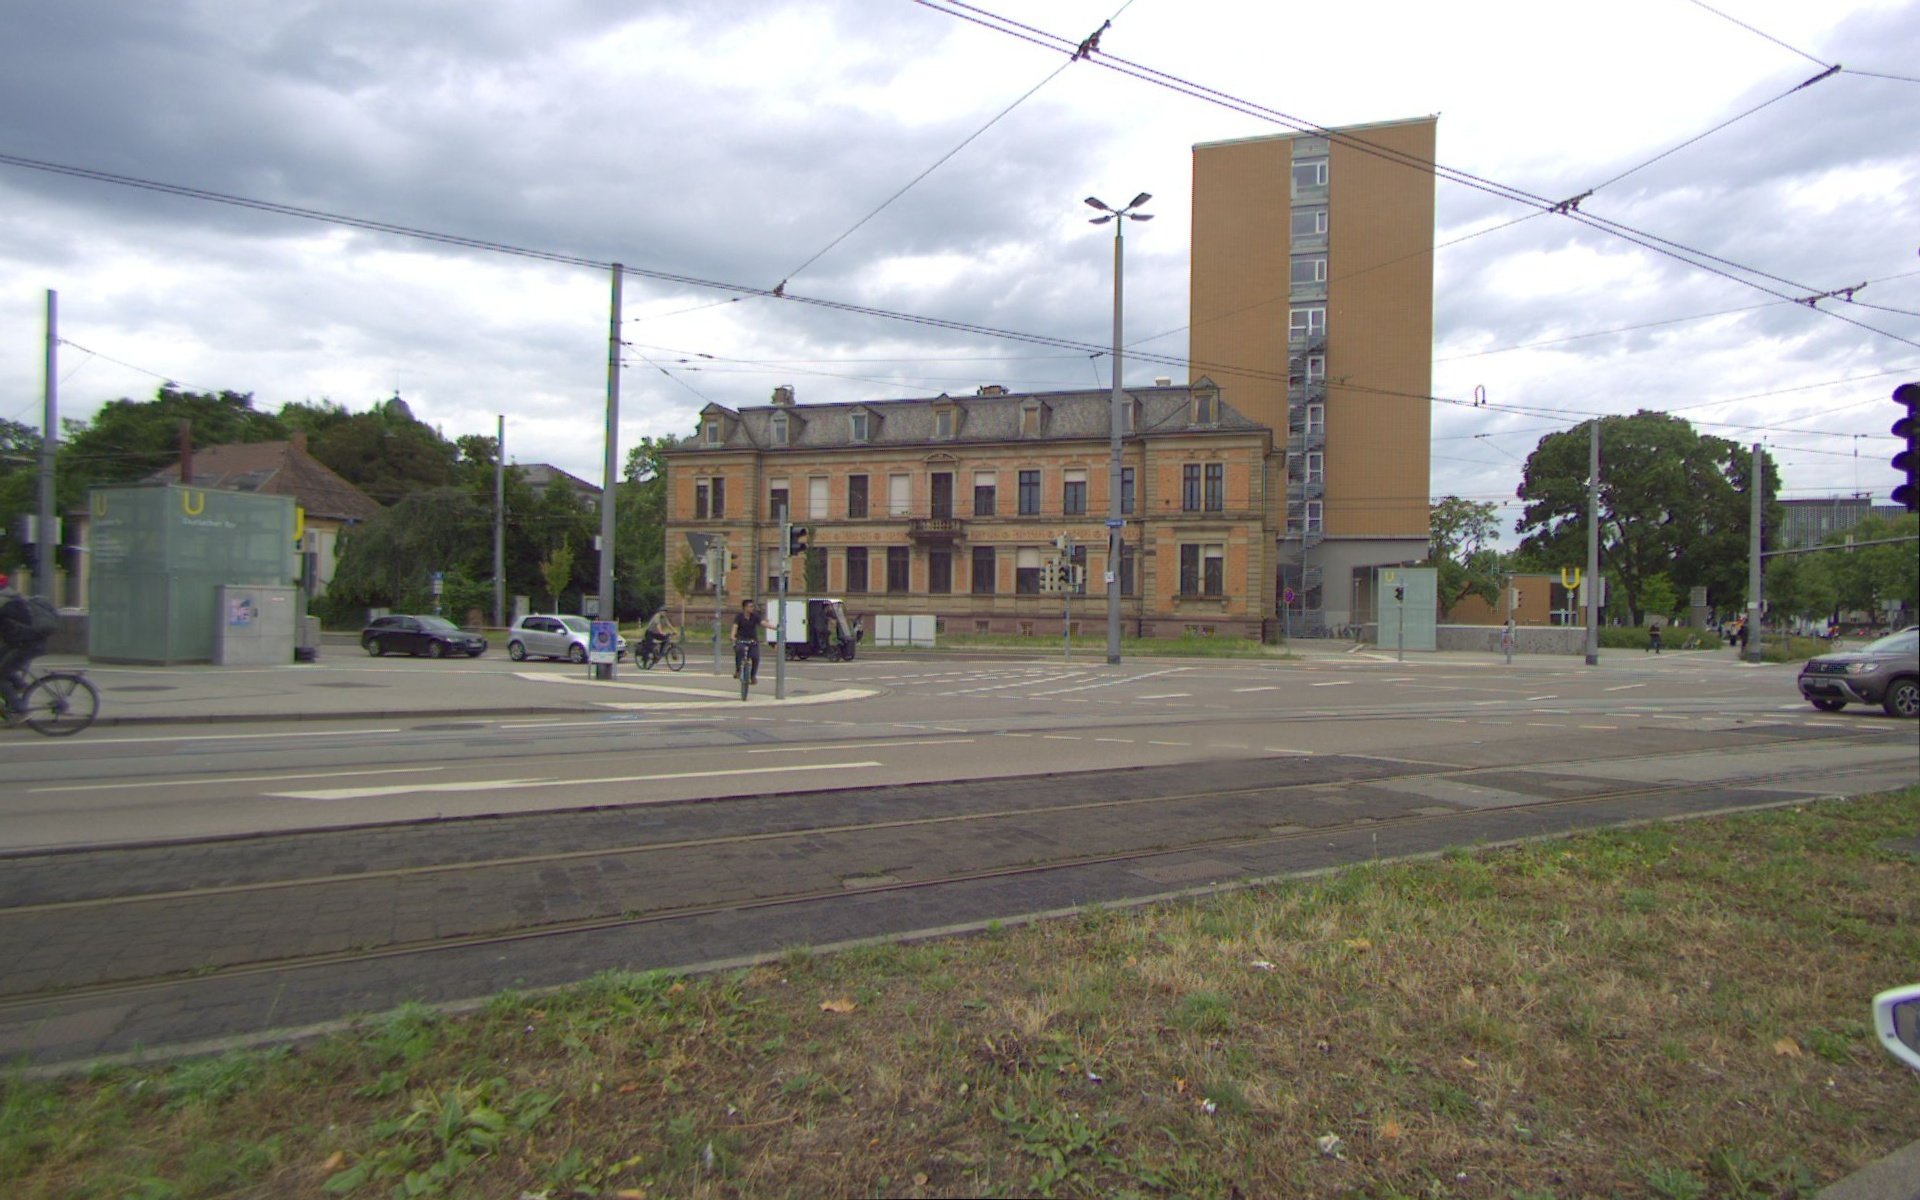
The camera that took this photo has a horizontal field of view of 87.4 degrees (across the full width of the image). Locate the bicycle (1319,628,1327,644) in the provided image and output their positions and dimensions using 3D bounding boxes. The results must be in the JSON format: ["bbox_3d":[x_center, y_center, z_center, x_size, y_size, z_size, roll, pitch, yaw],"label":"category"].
[{"bbox_3d":[26.912,2.646,74.409,0.561,1.120,1.428,1,-1,20],"label":"bicycle"}]

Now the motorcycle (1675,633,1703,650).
[{"bbox_3d":[48.755,2.752,67.165,1.715,1.126,0.510,1,0,-15],"label":"motorcycle"}]

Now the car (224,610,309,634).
[{"bbox_3d":[-40.372,1.244,58.508,3.919,1.305,1.935,1,-1,15],"label":"car"}]

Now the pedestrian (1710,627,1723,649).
[{"bbox_3d":[70.584,3.501,93.719,0.869,2.007,0.791,1,-2,45],"label":"pedestrian"}]

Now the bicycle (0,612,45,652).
[{"bbox_3d":[-28.238,0.936,29.822,2.318,1.130,0.739,1,0,25],"label":"bicycle"}]

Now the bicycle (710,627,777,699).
[{"bbox_3d":[-4.030,1.131,18.583,0.805,1.259,1.988,0,-2,-25],"label":"bicycle"}]

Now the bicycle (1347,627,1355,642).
[{"bbox_3d":[28.731,2.524,73.840,0.472,1.063,1.428,1,-1,20],"label":"bicycle"}]

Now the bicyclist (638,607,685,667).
[{"bbox_3d":[-8.425,1.039,28.345,0.900,1.644,0.855,0,-1,23],"label":"bicyclist"}]

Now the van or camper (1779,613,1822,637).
[{"bbox_3d":[116.337,3.428,139.044,2.347,3.165,5.506,1,-1,14],"label":"van or camper"}]

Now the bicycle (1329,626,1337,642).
[{"bbox_3d":[27.548,2.525,74.214,0.561,1.120,1.428,1,-1,20],"label":"bicycle"}]

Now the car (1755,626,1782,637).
[{"bbox_3d":[118.346,4.618,147.044,1.746,1.483,4.001,1,0,17],"label":"car"}]

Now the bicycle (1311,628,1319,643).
[{"bbox_3d":[26.357,2.627,74.603,0.561,1.120,1.428,1,-1,20],"label":"bicycle"}]

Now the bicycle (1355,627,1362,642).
[{"bbox_3d":[29.220,2.516,73.659,0.472,1.063,1.428,1,-1,20],"label":"bicycle"}]

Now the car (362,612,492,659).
[{"bbox_3d":[-18.299,1.175,34.494,4.062,1.468,1.697,1,0,21],"label":"car"}]

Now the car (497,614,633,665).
[{"bbox_3d":[-12.658,1.225,32.186,4.083,1.473,1.760,1,0,26],"label":"car"}]

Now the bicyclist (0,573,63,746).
[{"bbox_3d":[-11.033,0.661,11.401,1.034,1.917,0.827,1,-1,-24],"label":"bicyclist"}]

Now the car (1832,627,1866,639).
[{"bbox_3d":[115.859,4.286,130.939,1.746,1.483,4.001,1,0,17],"label":"car"}]

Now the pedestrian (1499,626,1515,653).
[{"bbox_3d":[27.529,1.974,50.551,0.562,1.353,0.499,1,0,12],"label":"pedestrian"}]

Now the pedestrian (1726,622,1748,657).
[{"bbox_3d":[45.339,2.298,58.585,0.918,2.040,1.006,1,-2,43],"label":"pedestrian"}]

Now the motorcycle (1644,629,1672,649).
[{"bbox_3d":[46.649,2.605,67.129,1.443,1.285,0.512,1,0,17],"label":"motorcycle"}]

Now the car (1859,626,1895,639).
[{"bbox_3d":[113.663,4.040,124.542,1.746,1.483,4.001,1,0,16],"label":"car"}]

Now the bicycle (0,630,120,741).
[{"bbox_3d":[-11.072,0.960,11.384,2.203,1.224,0.822,1,-1,-24],"label":"bicycle"}]

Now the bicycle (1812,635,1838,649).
[{"bbox_3d":[79.059,3.816,91.832,1.791,1.252,0.435,2,-1,16],"label":"bicycle"}]

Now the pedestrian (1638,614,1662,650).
[{"bbox_3d":[40.090,1.862,58.383,1.010,2.040,0.841,1,-1,43],"label":"pedestrian"}]

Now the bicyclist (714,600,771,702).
[{"bbox_3d":[-4.036,0.917,18.595,0.805,1.822,1.023,0,0,-25],"label":"bicyclist"}]

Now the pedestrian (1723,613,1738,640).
[{"bbox_3d":[60.006,2.073,78.225,0.781,2.007,0.880,1,-1,28],"label":"pedestrian"}]

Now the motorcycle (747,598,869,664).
[{"bbox_3d":[-5.021,0.988,33.175,3.615,2.040,1.696,1,0,21],"label":"motorcycle"}]

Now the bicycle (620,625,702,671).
[{"bbox_3d":[-8.437,1.339,28.340,2.155,1.224,0.857,0,-1,23],"label":"bicycle"}]

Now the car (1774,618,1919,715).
[{"bbox_3d":[17.860,1.220,18.544,4.145,1.662,1.804,1,0,2],"label":"car"}]

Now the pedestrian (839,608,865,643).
[{"bbox_3d":[-5.484,1.288,50.932,1.104,1.786,0.759,1,0,10],"label":"pedestrian"}]
